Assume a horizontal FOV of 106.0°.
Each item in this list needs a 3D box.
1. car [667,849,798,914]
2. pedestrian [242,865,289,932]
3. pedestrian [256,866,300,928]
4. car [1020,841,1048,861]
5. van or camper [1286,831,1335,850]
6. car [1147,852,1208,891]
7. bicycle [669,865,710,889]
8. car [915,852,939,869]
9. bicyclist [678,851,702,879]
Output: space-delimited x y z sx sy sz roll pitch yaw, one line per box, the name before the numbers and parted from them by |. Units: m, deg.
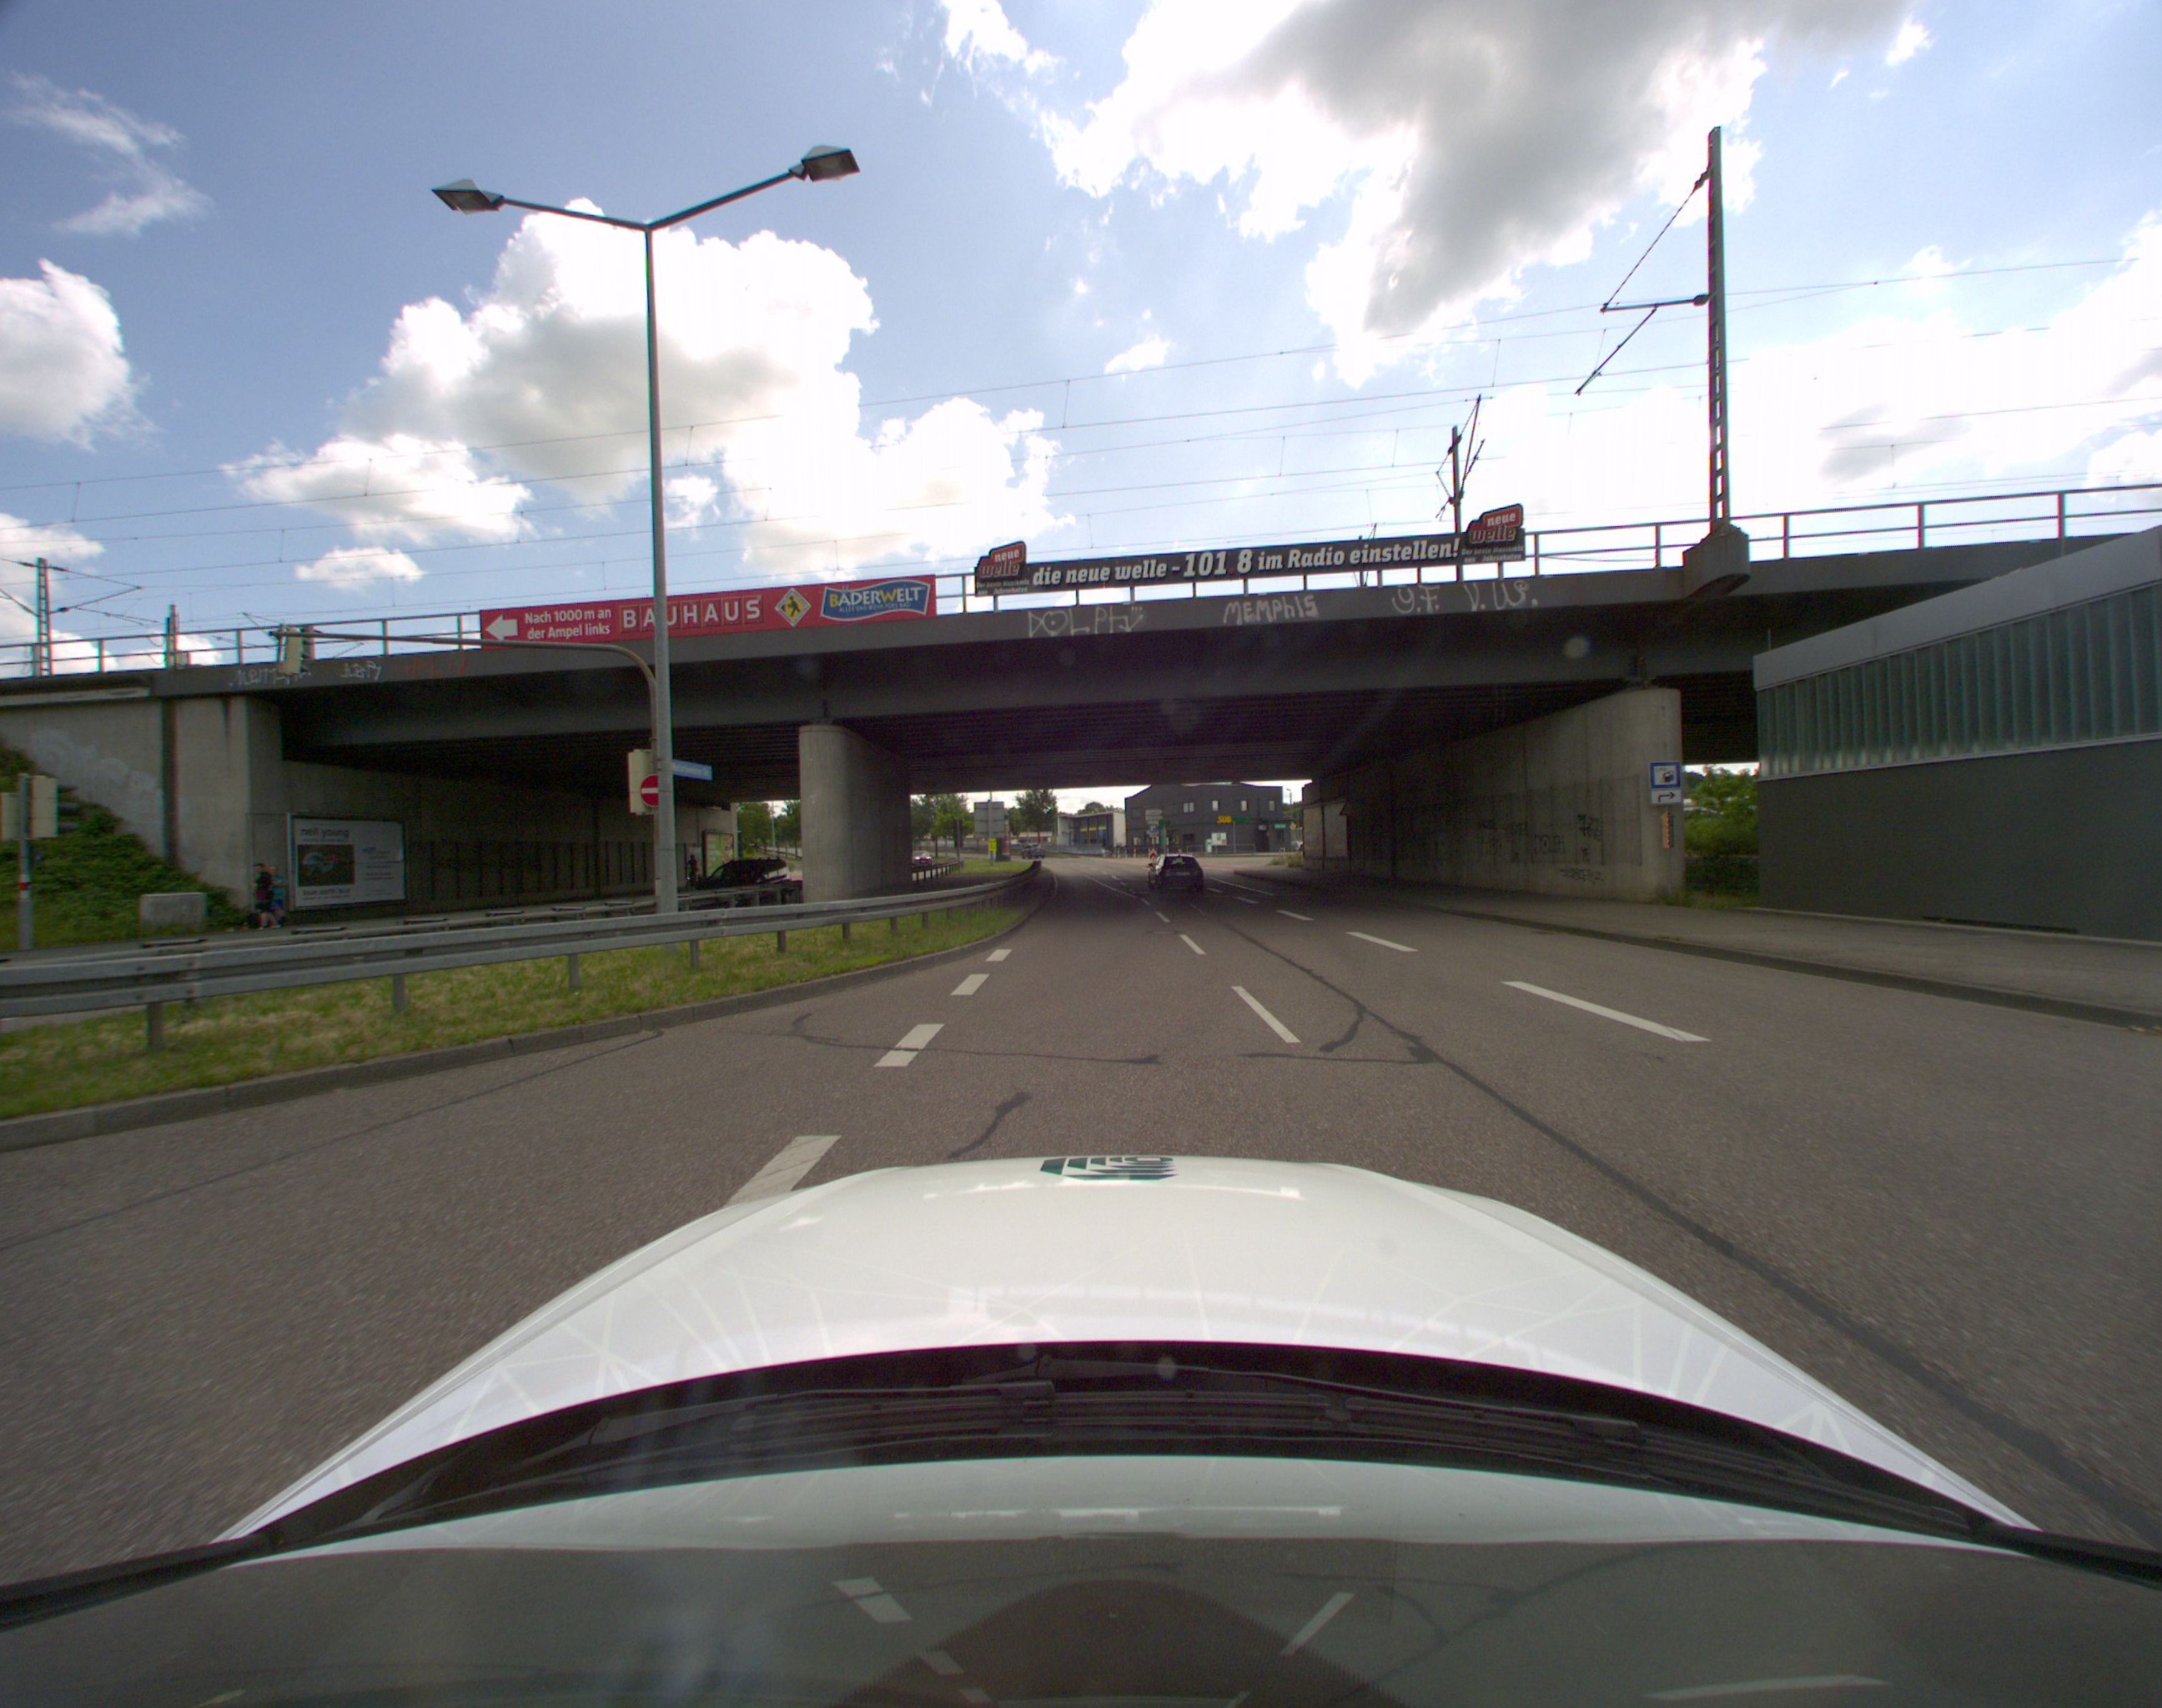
car | -10.616 0.778 25.280 1.987 1.759 4.716 -2 0 0
pedestrian | -21.124 1.135 21.108 0.589 1.681 0.556 -2 0 -1
pedestrian | -21.600 1.141 21.909 0.552 1.625 0.586 -2 0 2
car | -5.298 -0.305 91.222 1.999 2.037 4.685 -2 0 -17
van or camper | 27.127 -1.539 96.258 6.275 2.173 2.103 0 -1 -36
car | 3.701 0.632 31.924 1.986 1.390 4.577 0 1 2
bicycle | -19.791 1.137 41.216 0.676 1.143 2.289 0 0 9
car | -16.132 0.697 85.449 1.991 1.675 4.315 -2 0 -5
bicyclist | -19.796 0.573 41.195 0.677 1.408 0.927 0 -1 9
